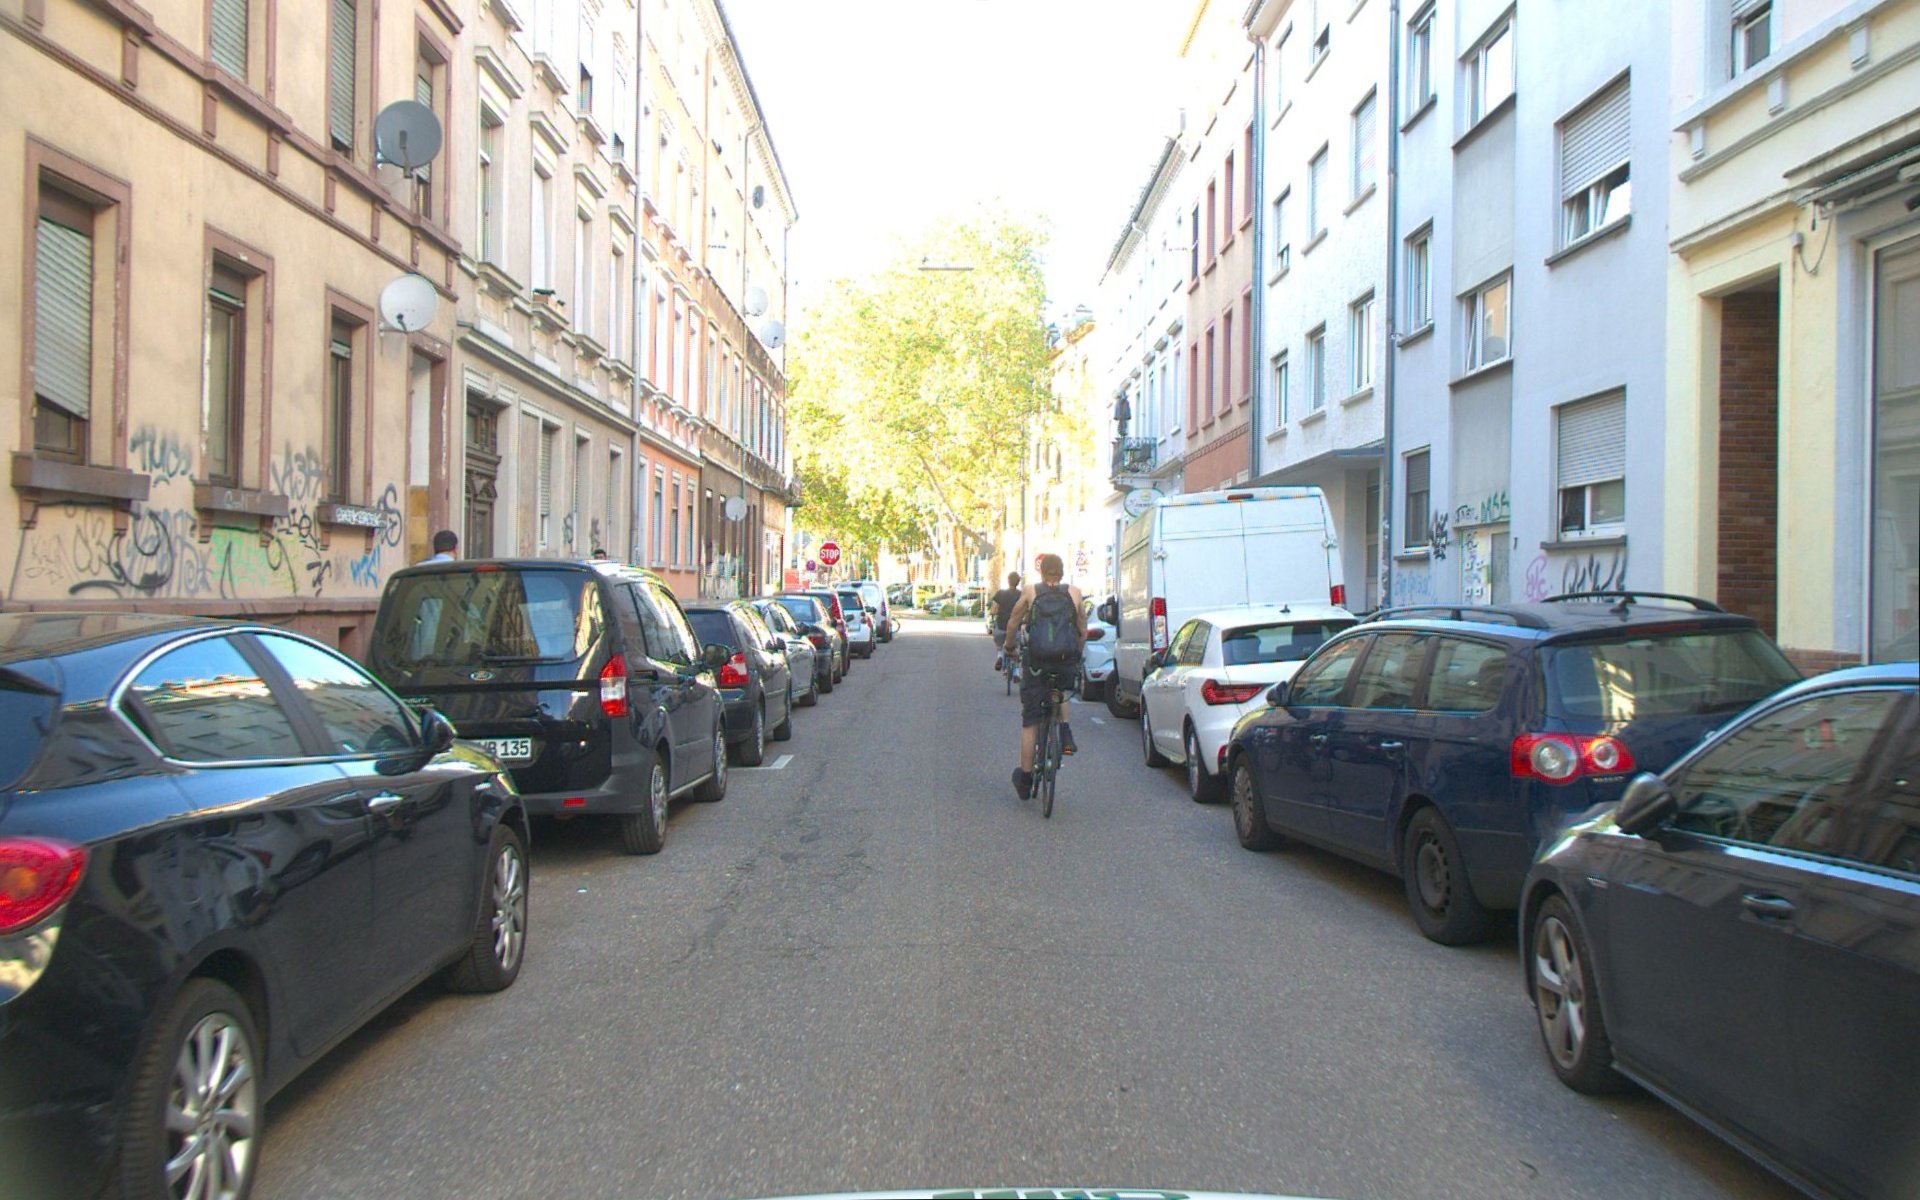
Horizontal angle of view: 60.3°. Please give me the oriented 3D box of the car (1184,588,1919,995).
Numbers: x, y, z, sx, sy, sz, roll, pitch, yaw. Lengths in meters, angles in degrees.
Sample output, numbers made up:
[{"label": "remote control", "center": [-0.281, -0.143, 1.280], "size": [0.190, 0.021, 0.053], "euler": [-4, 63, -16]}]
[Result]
[{"label": "car", "center": [2.797, 0.744, 8.996], "size": [1.778, 1.503, 4.597], "euler": [-3, 1, -10]}]

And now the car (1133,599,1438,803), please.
[{"label": "car", "center": [2.565, 0.729, 13.907], "size": [1.690, 1.454, 3.831], "euler": [0, 0, -2]}]

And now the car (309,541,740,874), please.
[{"label": "car", "center": [-2.600, 0.567, 10.877], "size": [1.764, 1.728, 3.999], "euler": [-2, 0, -1]}]

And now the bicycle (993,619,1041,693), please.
[{"label": "bicycle", "center": [0.855, 0.830, 25.159], "size": [0.650, 1.055, 1.958], "euler": [0, 0, -1]}]

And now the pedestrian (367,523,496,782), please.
[{"label": "pedestrian", "center": [-3.938, 0.381, 12.364], "size": [0.637, 1.849, 0.754], "euler": [3, 0, 0]}]

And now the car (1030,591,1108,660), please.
[{"label": "car", "center": [2.510, 0.566, 38.676], "size": [1.559, 1.518, 3.875], "euler": [0, 0, 0]}]

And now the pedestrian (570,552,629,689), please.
[{"label": "pedestrian", "center": [-5.099, 0.286, 23.444], "size": [0.598, 1.890, 0.754], "euler": [3, 0, -1]}]

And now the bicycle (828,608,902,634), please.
[{"label": "bicycle", "center": [-3.428, 0.761, 59.891], "size": [2.661, 0.907, 0.618], "euler": [0, 0, -4]}]

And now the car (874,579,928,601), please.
[{"label": "car", "center": [-4.910, -0.829, 136.739], "size": [4.382, 1.725, 1.864], "euler": [0, 0, -5]}]

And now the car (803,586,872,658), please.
[{"label": "car", "center": [-2.806, 0.474, 38.224], "size": [1.514, 1.578, 3.462], "euler": [0, 0, -4]}]

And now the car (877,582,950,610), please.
[{"label": "car", "center": [-2.850, -0.238, 101.273], "size": [4.382, 1.725, 1.864], "euler": [0, 0, -5]}]

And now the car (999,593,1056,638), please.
[{"label": "car", "center": [2.296, 0.512, 56.813], "size": [1.653, 1.497, 3.573], "euler": [0, 0, -2]}]

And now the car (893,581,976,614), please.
[{"label": "car", "center": [-1.423, -0.136, 89.793], "size": [4.382, 1.790, 1.864], "euler": [0, 0, -5]}]

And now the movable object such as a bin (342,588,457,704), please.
[{"label": "movable object such as a bin", "center": [-5.502, 0.439, 16.277], "size": [0.773, 1.042, 0.757], "euler": [5, 0, 1]}]

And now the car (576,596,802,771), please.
[{"label": "car", "center": [-2.473, 0.703, 15.858], "size": [1.559, 1.465, 3.654], "euler": [0, 0, 0]}]

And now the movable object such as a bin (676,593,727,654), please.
[{"label": "movable object such as a bin", "center": [-5.227, 0.466, 33.440], "size": [0.817, 1.146, 0.716], "euler": [-4, 0, 1]}]

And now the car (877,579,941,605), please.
[{"label": "car", "center": [-3.559, -0.556, 114.654], "size": [4.382, 1.725, 1.864], "euler": [0, 0, -5]}]

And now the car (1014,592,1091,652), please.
[{"label": "car", "center": [2.411, 0.550, 44.132], "size": [1.676, 1.496, 3.998], "euler": [0, 0, -2]}]

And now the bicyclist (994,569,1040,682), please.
[{"label": "bicyclist", "center": [0.852, 0.381, 25.072], "size": [0.656, 1.687, 0.877], "euler": [0, 0, -1]}]

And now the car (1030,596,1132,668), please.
[{"label": "car", "center": [2.401, 0.611, 33.583], "size": [1.624, 1.361, 3.998], "euler": [0, 0, -2]}]

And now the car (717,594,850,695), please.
[{"label": "car", "center": [-2.674, 0.628, 25.891], "size": [1.671, 1.438, 4.301], "euler": [0, 0, -1]}]

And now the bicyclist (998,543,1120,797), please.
[{"label": "bicyclist", "center": [0.689, 0.474, 11.823], "size": [0.725, 1.708, 1.116], "euler": [2, 0, -1]}]

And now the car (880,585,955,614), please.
[{"label": "car", "center": [-2.573, -0.038, 98.860], "size": [4.382, 1.725, 1.864], "euler": [0, 0, -5]}]

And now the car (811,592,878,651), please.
[{"label": "car", "center": [-2.889, 0.517, 41.987], "size": [1.521, 1.424, 3.667], "euler": [0, 0, -1]}]

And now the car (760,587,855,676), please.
[{"label": "car", "center": [-2.790, 0.539, 30.849], "size": [1.572, 1.557, 3.377], "euler": [-1, 0, -2]}]

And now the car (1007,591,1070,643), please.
[{"label": "car", "center": [2.402, 0.495, 51.240], "size": [1.619, 1.557, 3.573], "euler": [0, 0, -2]}]

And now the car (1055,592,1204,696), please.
[{"label": "car", "center": [2.564, 0.628, 25.880], "size": [1.697, 1.496, 4.018], "euler": [0, 0, -3]}]

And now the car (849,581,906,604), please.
[{"label": "car", "center": [-6.426, -0.597, 128.408], "size": [4.382, 1.725, 1.864], "euler": [0, 0, -5]}]

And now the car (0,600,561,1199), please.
[{"label": "car", "center": [-2.504, 0.741, 4.919], "size": [1.701, 1.452, 4.000], "euler": [0, 0, -1]}]

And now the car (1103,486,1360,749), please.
[{"label": "car", "center": [2.942, 0.148, 19.355], "size": [2.159, 2.595, 6.037], "euler": [0, 0, 1]}]

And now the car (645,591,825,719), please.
[{"label": "car", "center": [-2.727, 0.616, 20.830], "size": [1.639, 1.455, 3.889], "euler": [0, 0, 1]}]

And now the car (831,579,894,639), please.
[{"label": "car", "center": [-2.942, 0.255, 50.423], "size": [1.751, 1.767, 3.875], "euler": [0, 0, -1]}]

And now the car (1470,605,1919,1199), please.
[{"label": "car", "center": [2.794, 0.793, 4.075], "size": [1.710, 1.511, 4.242], "euler": [0, 0, -1]}]

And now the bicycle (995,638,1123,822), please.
[{"label": "bicycle", "center": [0.673, 0.874, 11.867], "size": [0.725, 1.120, 2.041], "euler": [2, 0, -1]}]

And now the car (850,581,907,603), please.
[{"label": "car", "center": [-6.448, -0.647, 130.775], "size": [4.382, 1.725, 1.864], "euler": [0, 0, -5]}]

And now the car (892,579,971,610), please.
[{"label": "car", "center": [-1.654, -0.316, 94.538], "size": [4.382, 1.725, 1.864], "euler": [0, 0, -5]}]

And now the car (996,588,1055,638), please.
[{"label": "car", "center": [2.402, 0.450, 61.621], "size": [1.855, 1.800, 3.998], "euler": [0, 0, -3]}]
